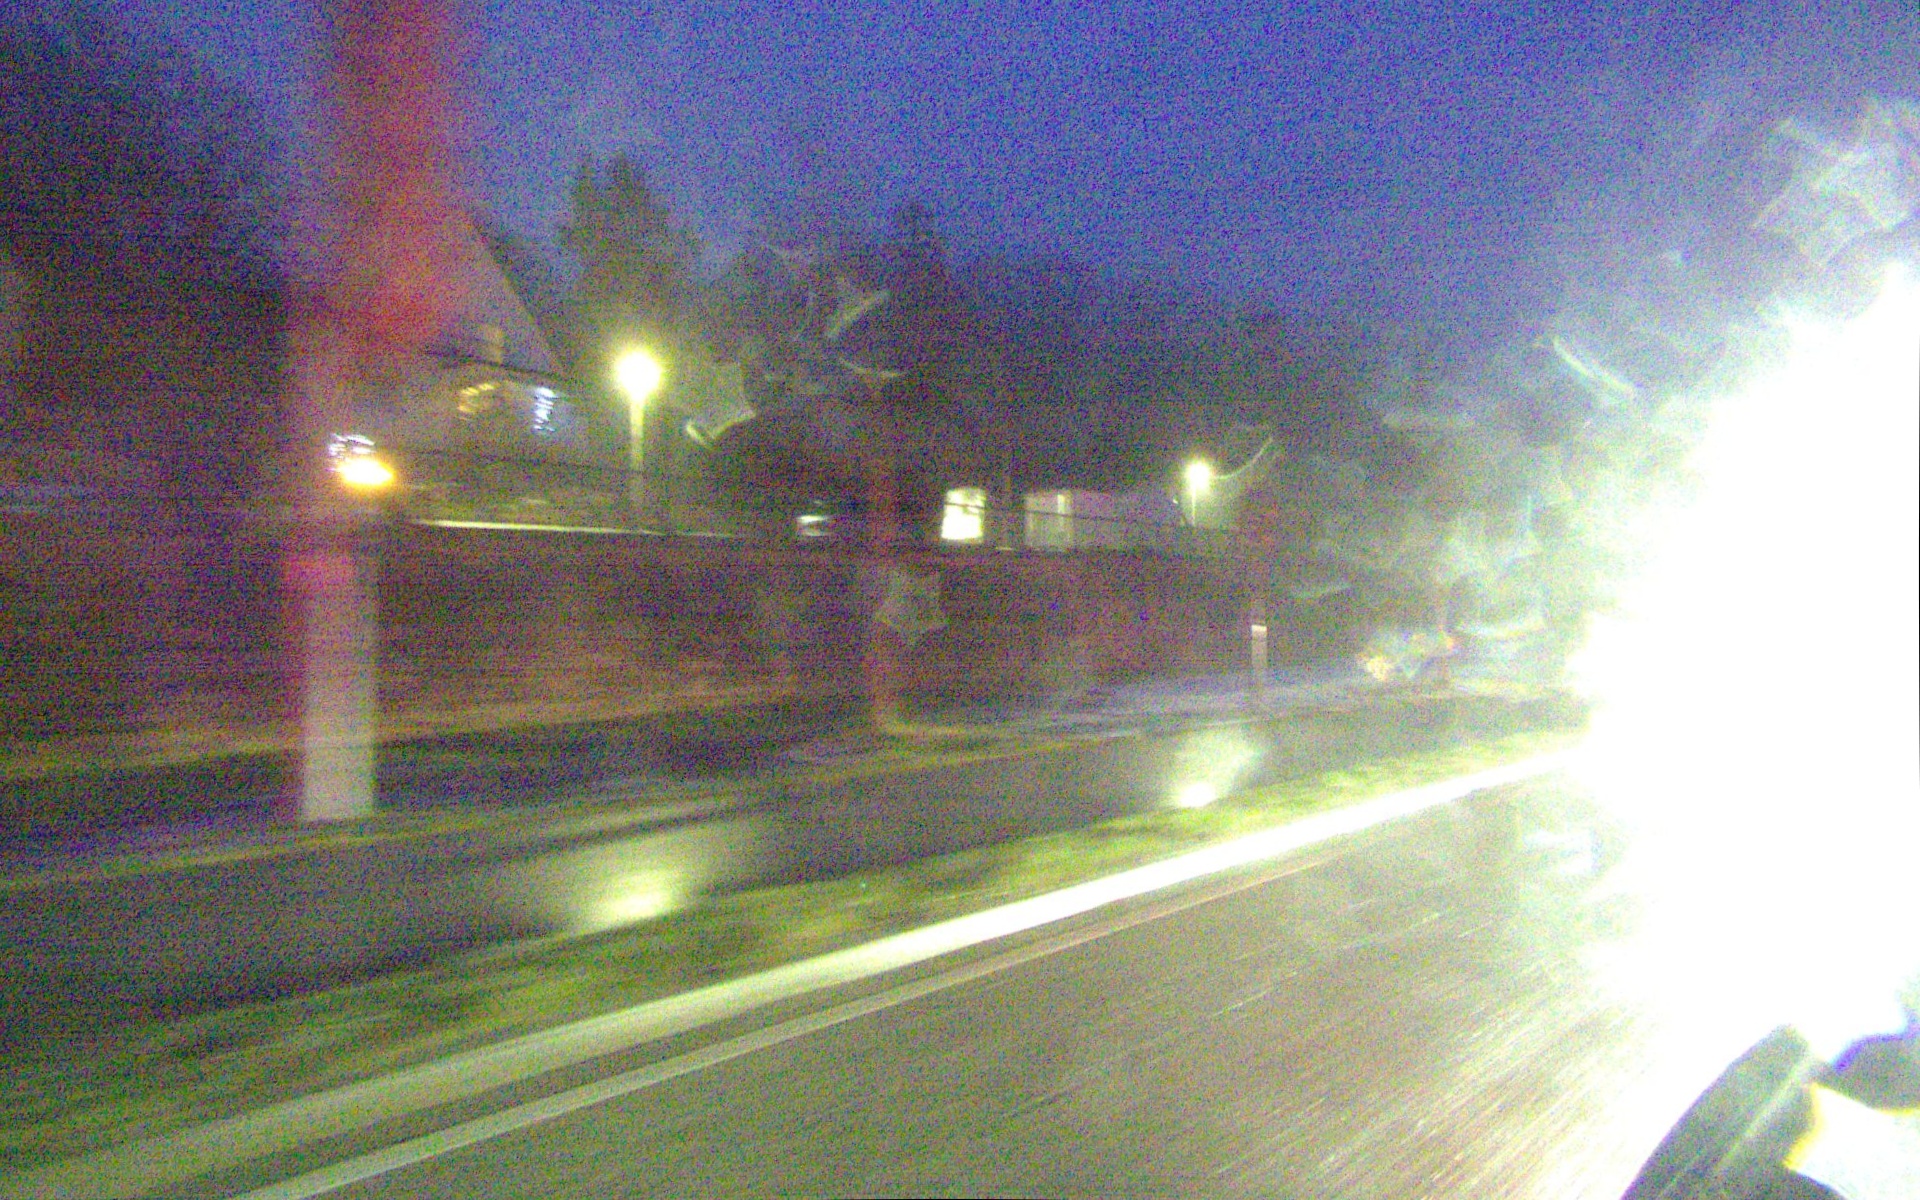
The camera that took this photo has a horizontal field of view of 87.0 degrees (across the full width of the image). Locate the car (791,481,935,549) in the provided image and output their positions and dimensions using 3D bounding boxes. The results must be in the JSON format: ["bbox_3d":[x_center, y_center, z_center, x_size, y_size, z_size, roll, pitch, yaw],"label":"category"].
[{"bbox_3d":[-2.481,-2.179,26.681,1.607,1.491,3.949,0,0,35],"label":"car"}]

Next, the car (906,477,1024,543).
[{"bbox_3d":[0.217,-2.647,30.427,1.607,1.660,3.949,0,0,35],"label":"car"}]

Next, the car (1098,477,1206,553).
[{"bbox_3d":[7.815,-3.322,40.851,2.109,2.668,5.377,1,1,37],"label":"car"}]

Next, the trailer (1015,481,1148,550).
[{"bbox_3d":[4.478,-2.948,36.484,2.221,2.098,5.643,1,1,37],"label":"trailer"}]
